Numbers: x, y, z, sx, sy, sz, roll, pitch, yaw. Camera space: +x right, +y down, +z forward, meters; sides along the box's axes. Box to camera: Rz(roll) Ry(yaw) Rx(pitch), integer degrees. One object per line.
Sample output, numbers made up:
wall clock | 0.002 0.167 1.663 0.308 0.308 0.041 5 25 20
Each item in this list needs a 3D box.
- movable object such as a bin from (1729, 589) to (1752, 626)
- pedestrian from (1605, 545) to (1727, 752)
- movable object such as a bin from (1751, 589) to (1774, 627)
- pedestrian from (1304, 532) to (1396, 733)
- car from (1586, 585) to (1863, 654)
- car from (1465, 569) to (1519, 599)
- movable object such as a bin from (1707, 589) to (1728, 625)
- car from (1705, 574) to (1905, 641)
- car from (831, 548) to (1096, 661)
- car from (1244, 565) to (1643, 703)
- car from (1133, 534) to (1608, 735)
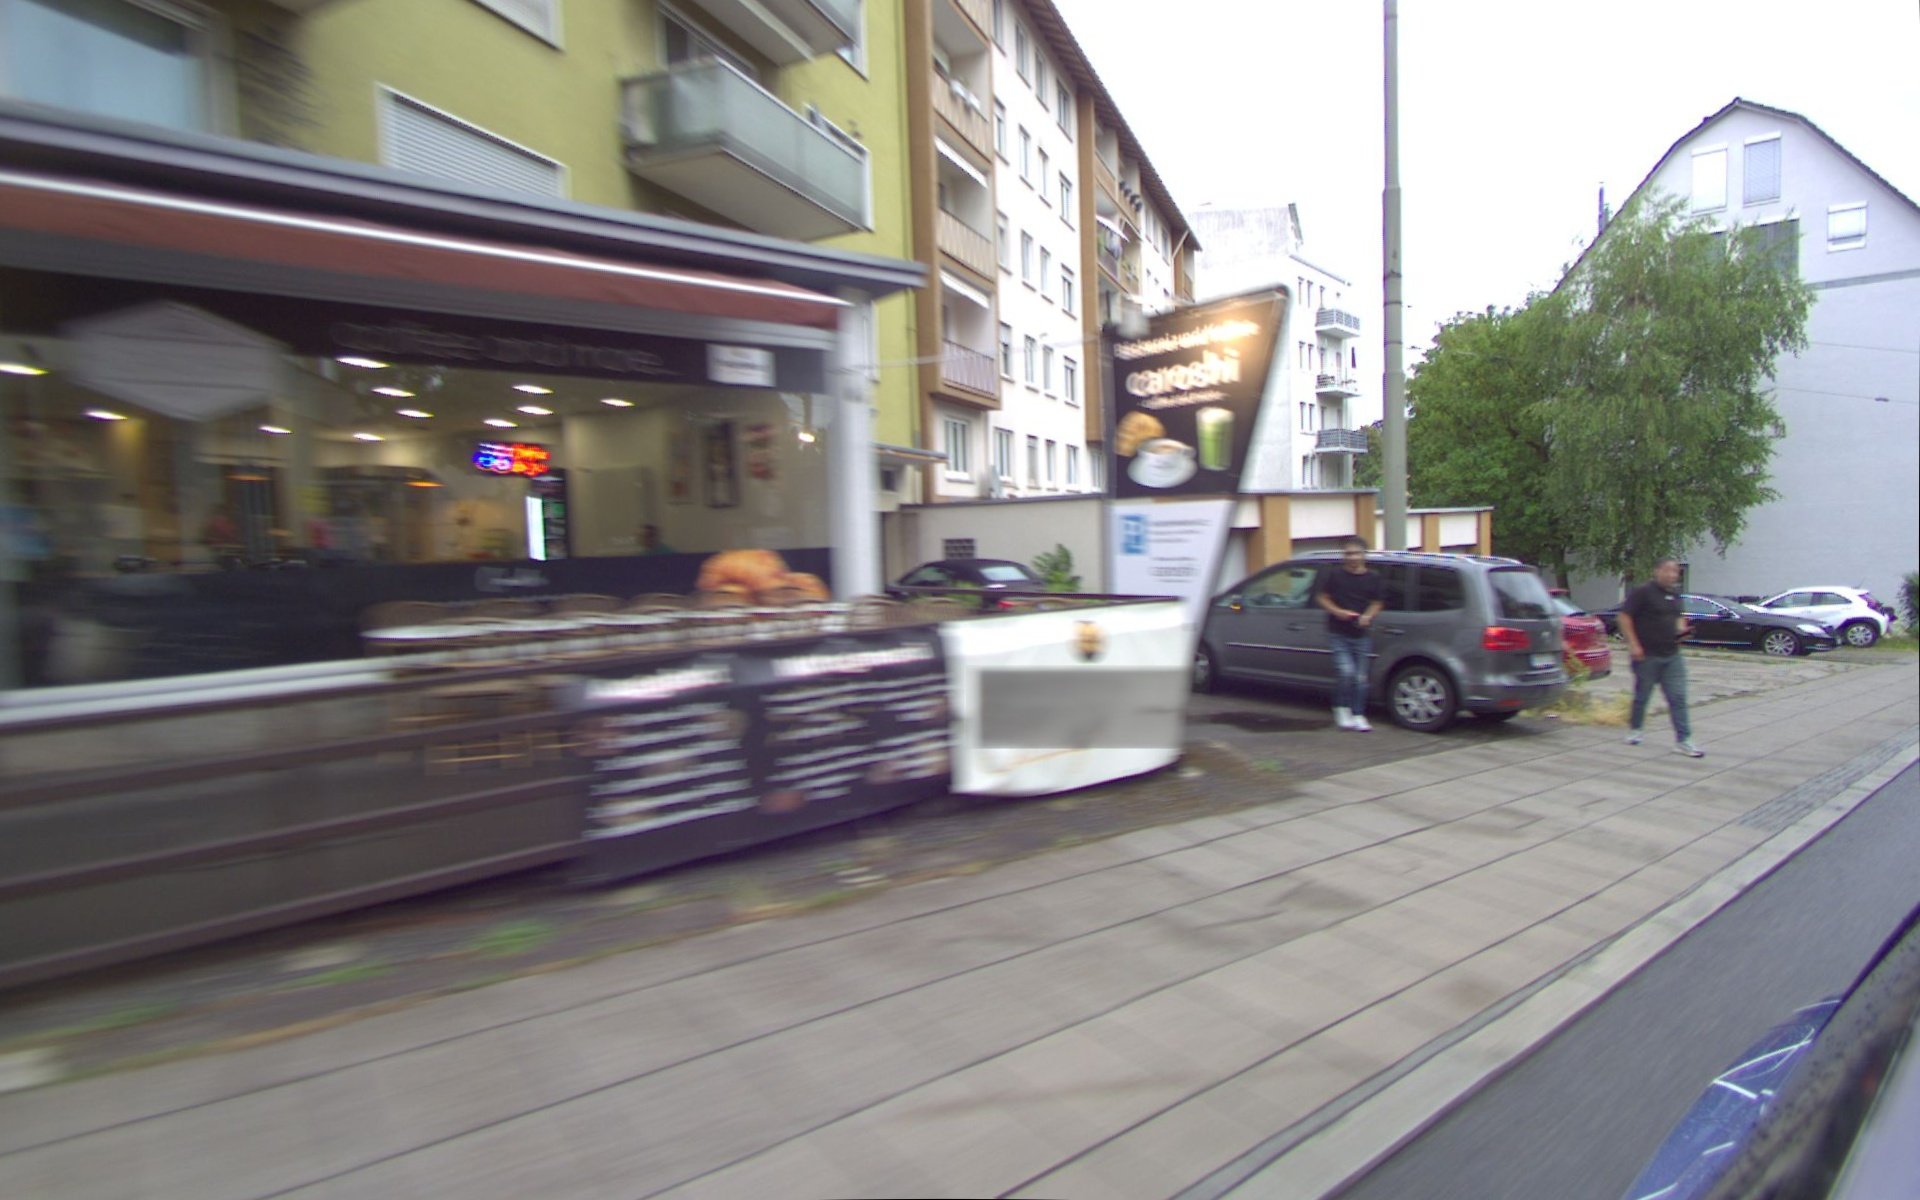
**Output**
movable object such as a bin | 24.194 0.219 31.372 0.514 1.126 0.634 2 0 37
pedestrian | 6.312 0.401 9.049 0.719 1.735 0.599 5 2 44
movable object such as a bin | 24.619 0.242 31.058 0.514 1.126 0.634 2 0 37
pedestrian | 3.536 0.283 9.168 0.604 1.736 0.579 1 -1 -43
car | 17.995 0.405 24.057 1.939 1.455 4.943 -1 0 -39
car | 25.508 -0.756 48.500 1.647 1.354 3.785 0 0 38
movable object such as a bin | 23.745 0.215 31.731 0.514 1.126 0.634 2 0 37
car | 22.755 0.139 27.361 1.789 1.483 3.991 -7 7 -43
car | -0.104 -0.059 15.824 1.748 1.418 4.526 -3 5 -37
car | 6.361 0.330 13.822 1.733 1.455 4.580 0 3 -39
car | 4.097 0.201 10.787 1.747 1.695 4.341 2 2 -38
